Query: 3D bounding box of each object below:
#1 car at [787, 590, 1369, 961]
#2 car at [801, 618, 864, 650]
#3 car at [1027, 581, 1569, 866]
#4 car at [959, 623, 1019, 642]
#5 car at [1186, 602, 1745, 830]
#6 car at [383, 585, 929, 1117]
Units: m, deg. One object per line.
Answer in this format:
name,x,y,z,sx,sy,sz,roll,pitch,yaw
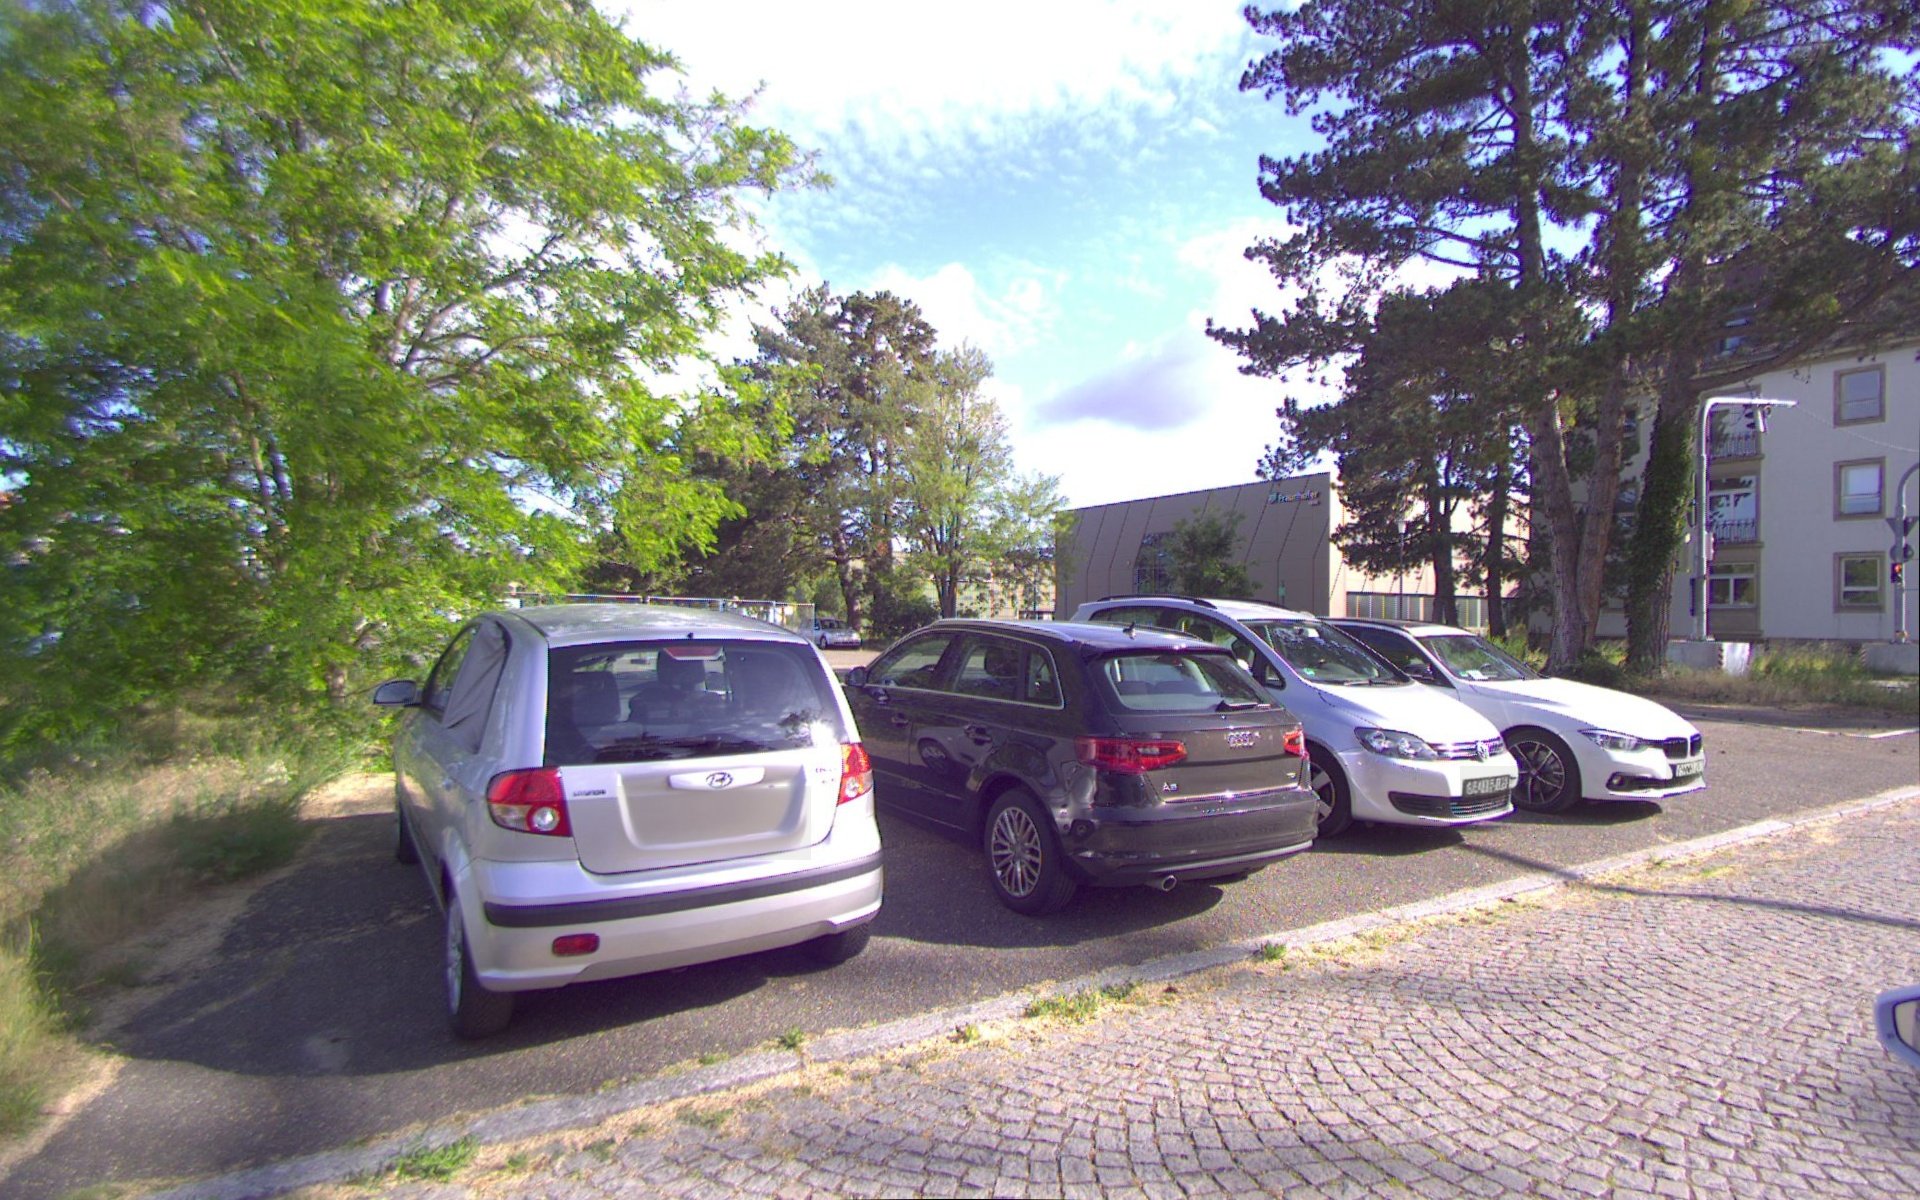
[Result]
car,0.411,0.762,6.401,1.669,1.491,3.775,1,2,-32
car,-5.959,1.546,46.633,1.726,1.388,3.595,1,-1,-29
car,2.453,0.737,8.196,1.705,1.648,3.917,1,2,-35
car,1.997,2.220,68.703,3.950,1.221,1.481,1,-1,-28
car,4.457,0.853,9.640,1.734,1.487,4.513,1,2,-33
car,-1.752,0.746,4.883,1.619,1.491,3.444,1,2,-33
